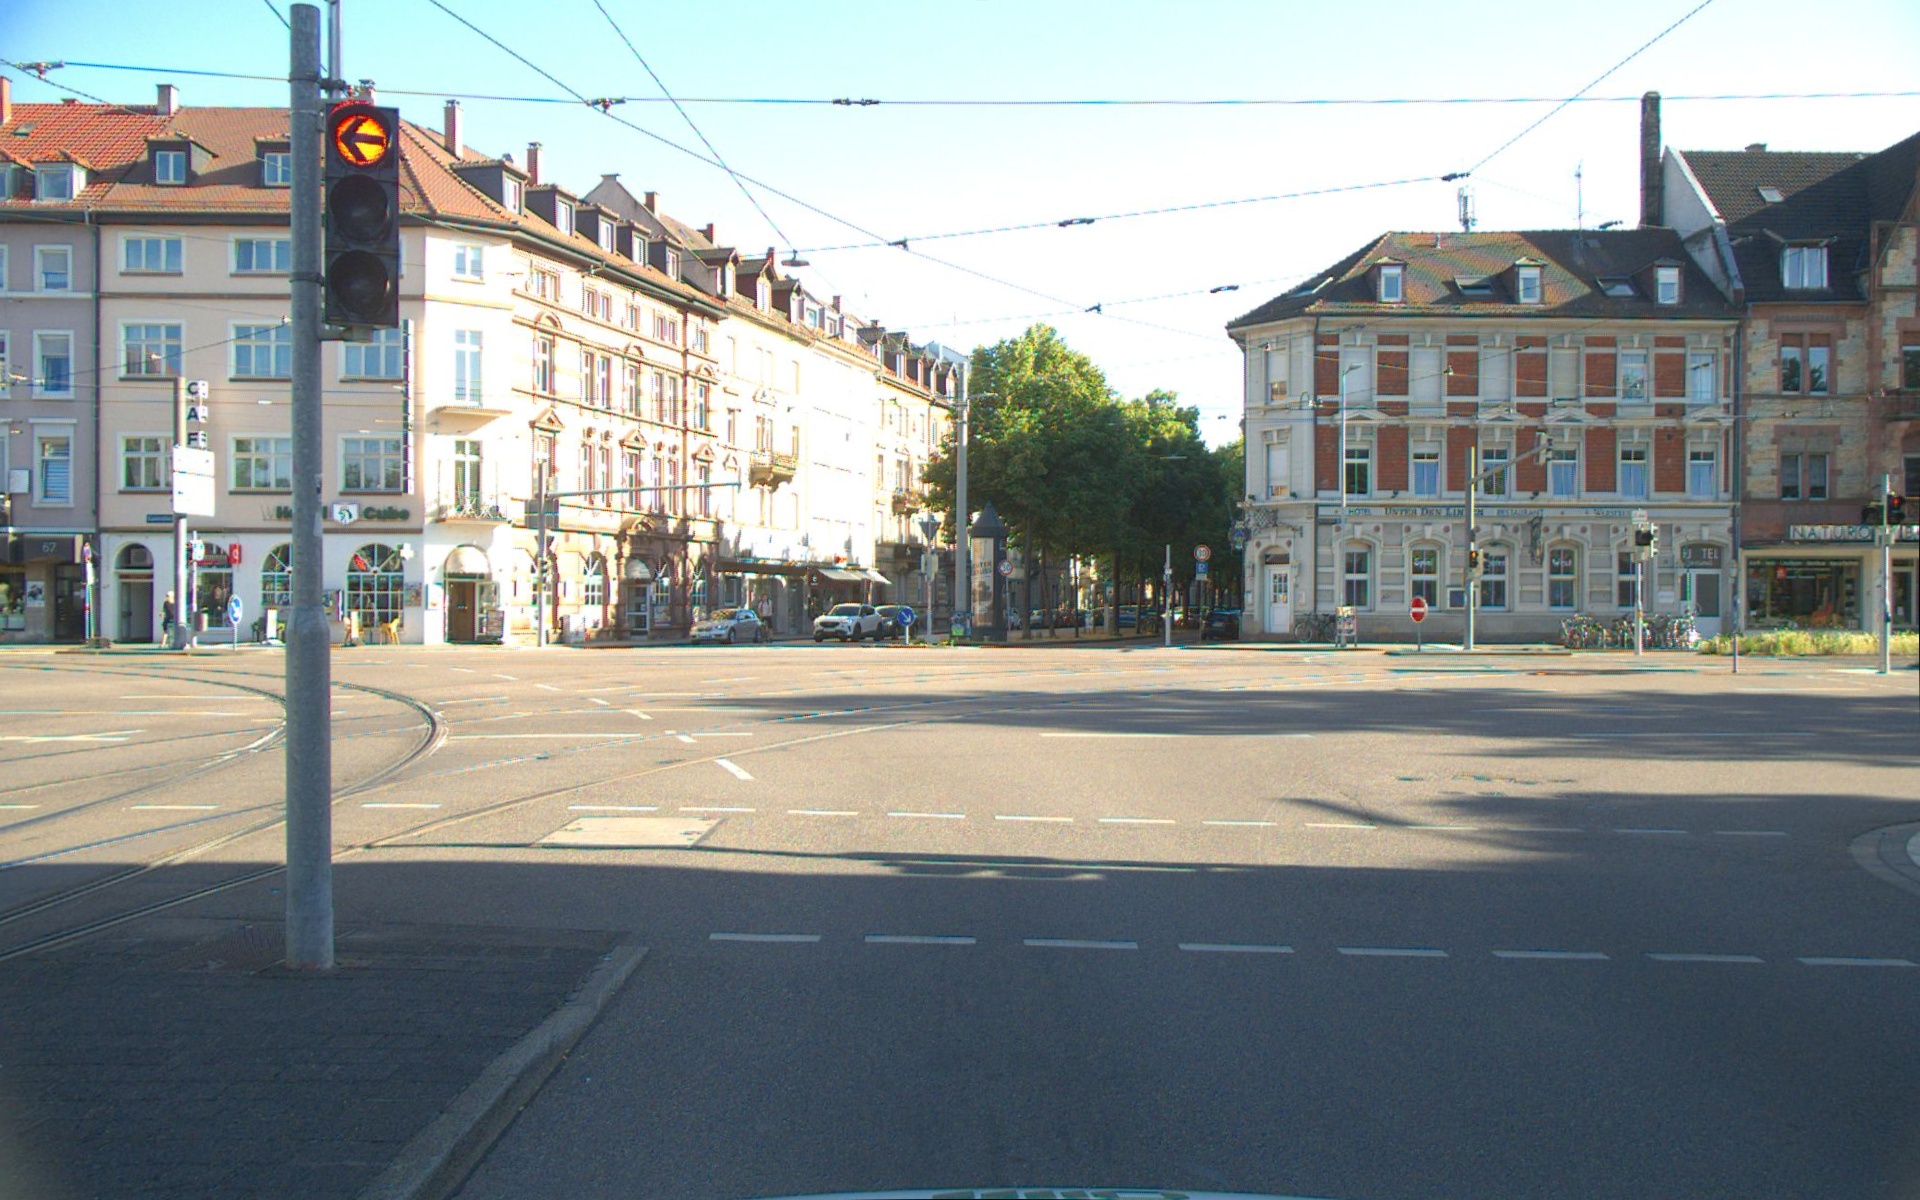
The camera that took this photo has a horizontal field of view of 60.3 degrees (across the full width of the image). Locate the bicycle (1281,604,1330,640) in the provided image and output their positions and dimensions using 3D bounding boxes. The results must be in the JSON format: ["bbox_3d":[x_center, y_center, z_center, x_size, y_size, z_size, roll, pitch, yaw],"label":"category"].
[{"bbox_3d":[11.972,0.766,57.302,1.603,1.243,0.607,0,0,16],"label":"bicycle"}]

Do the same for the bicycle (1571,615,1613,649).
[{"bbox_3d":[20.462,1.039,53.568,0.593,1.069,1.641,0,0,-6],"label":"bicycle"}]

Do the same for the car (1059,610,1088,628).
[{"bbox_3d":[9.420,1.576,136.503,1.704,1.422,4.127,3,0,13],"label":"car"}]

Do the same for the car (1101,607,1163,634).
[{"bbox_3d":[12.003,1.405,115.384,4.024,1.675,1.748,3,0,15],"label":"car"}]

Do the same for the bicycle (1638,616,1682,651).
[{"bbox_3d":[22.601,1.075,53.402,0.593,1.069,1.641,0,0,-6],"label":"bicycle"}]

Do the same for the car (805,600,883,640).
[{"bbox_3d":[-4.654,0.791,67.080,2.052,1.525,4.003,0,0,13],"label":"car"}]

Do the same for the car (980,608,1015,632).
[{"bbox_3d":[2.524,1.312,110.017,1.704,1.422,4.127,3,0,9],"label":"car"}]

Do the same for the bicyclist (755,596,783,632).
[{"bbox_3d":[-7.562,0.545,65.465,0.776,1.399,1.109,0,0,14],"label":"bicyclist"}]

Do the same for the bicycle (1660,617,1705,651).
[{"bbox_3d":[23.327,1.088,53.423,0.593,1.069,1.641,0,0,-6],"label":"bicycle"}]

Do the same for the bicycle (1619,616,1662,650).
[{"bbox_3d":[21.940,1.064,53.326,0.593,1.069,1.641,0,0,-6],"label":"bicycle"}]

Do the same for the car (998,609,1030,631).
[{"bbox_3d":[3.802,1.359,115.840,1.704,1.422,4.127,3,0,9],"label":"car"}]

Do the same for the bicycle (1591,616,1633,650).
[{"bbox_3d":[21.114,1.050,53.594,0.593,1.069,1.641,0,0,-6],"label":"bicycle"}]

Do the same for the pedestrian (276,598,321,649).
[{"bbox_3d":[-21.453,0.757,53.655,1.043,1.618,1.042,0,0,1],"label":"pedestrian"}]

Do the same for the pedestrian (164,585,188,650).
[{"bbox_3d":[-24.670,0.540,52.036,0.498,2.049,0.505,0,0,2],"label":"pedestrian"}]

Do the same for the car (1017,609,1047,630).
[{"bbox_3d":[5.333,1.415,122.840,1.704,1.422,4.127,3,0,9],"label":"car"}]

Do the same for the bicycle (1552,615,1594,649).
[{"bbox_3d":[19.822,1.028,53.512,0.593,1.069,1.641,0,0,-6],"label":"bicycle"}]

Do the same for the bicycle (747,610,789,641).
[{"bbox_3d":[-7.577,0.996,65.495,0.734,1.155,2.812,0,0,14],"label":"bicycle"}]

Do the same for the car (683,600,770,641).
[{"bbox_3d":[-9.454,0.813,67.221,2.052,1.572,4.367,0,0,13],"label":"car"}]

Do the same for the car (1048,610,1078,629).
[{"bbox_3d":[8.242,1.540,131.707,1.704,1.422,4.127,3,0,13],"label":"car"}]

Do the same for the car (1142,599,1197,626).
[{"bbox_3d":[16.956,1.016,133.665,4.026,1.952,1.746,3,0,21],"label":"car"}]

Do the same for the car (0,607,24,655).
[{"bbox_3d":[-32.066,0.998,52.156,3.910,1.489,1.998,-1,1,-6],"label":"car"}]

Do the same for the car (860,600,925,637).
[{"bbox_3d":[-2.962,0.799,73.473,1.951,1.540,4.004,0,0,11],"label":"car"}]

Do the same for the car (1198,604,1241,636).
[{"bbox_3d":[12.971,1.005,82.466,1.616,1.551,3.755,0,-1,17],"label":"car"}]
